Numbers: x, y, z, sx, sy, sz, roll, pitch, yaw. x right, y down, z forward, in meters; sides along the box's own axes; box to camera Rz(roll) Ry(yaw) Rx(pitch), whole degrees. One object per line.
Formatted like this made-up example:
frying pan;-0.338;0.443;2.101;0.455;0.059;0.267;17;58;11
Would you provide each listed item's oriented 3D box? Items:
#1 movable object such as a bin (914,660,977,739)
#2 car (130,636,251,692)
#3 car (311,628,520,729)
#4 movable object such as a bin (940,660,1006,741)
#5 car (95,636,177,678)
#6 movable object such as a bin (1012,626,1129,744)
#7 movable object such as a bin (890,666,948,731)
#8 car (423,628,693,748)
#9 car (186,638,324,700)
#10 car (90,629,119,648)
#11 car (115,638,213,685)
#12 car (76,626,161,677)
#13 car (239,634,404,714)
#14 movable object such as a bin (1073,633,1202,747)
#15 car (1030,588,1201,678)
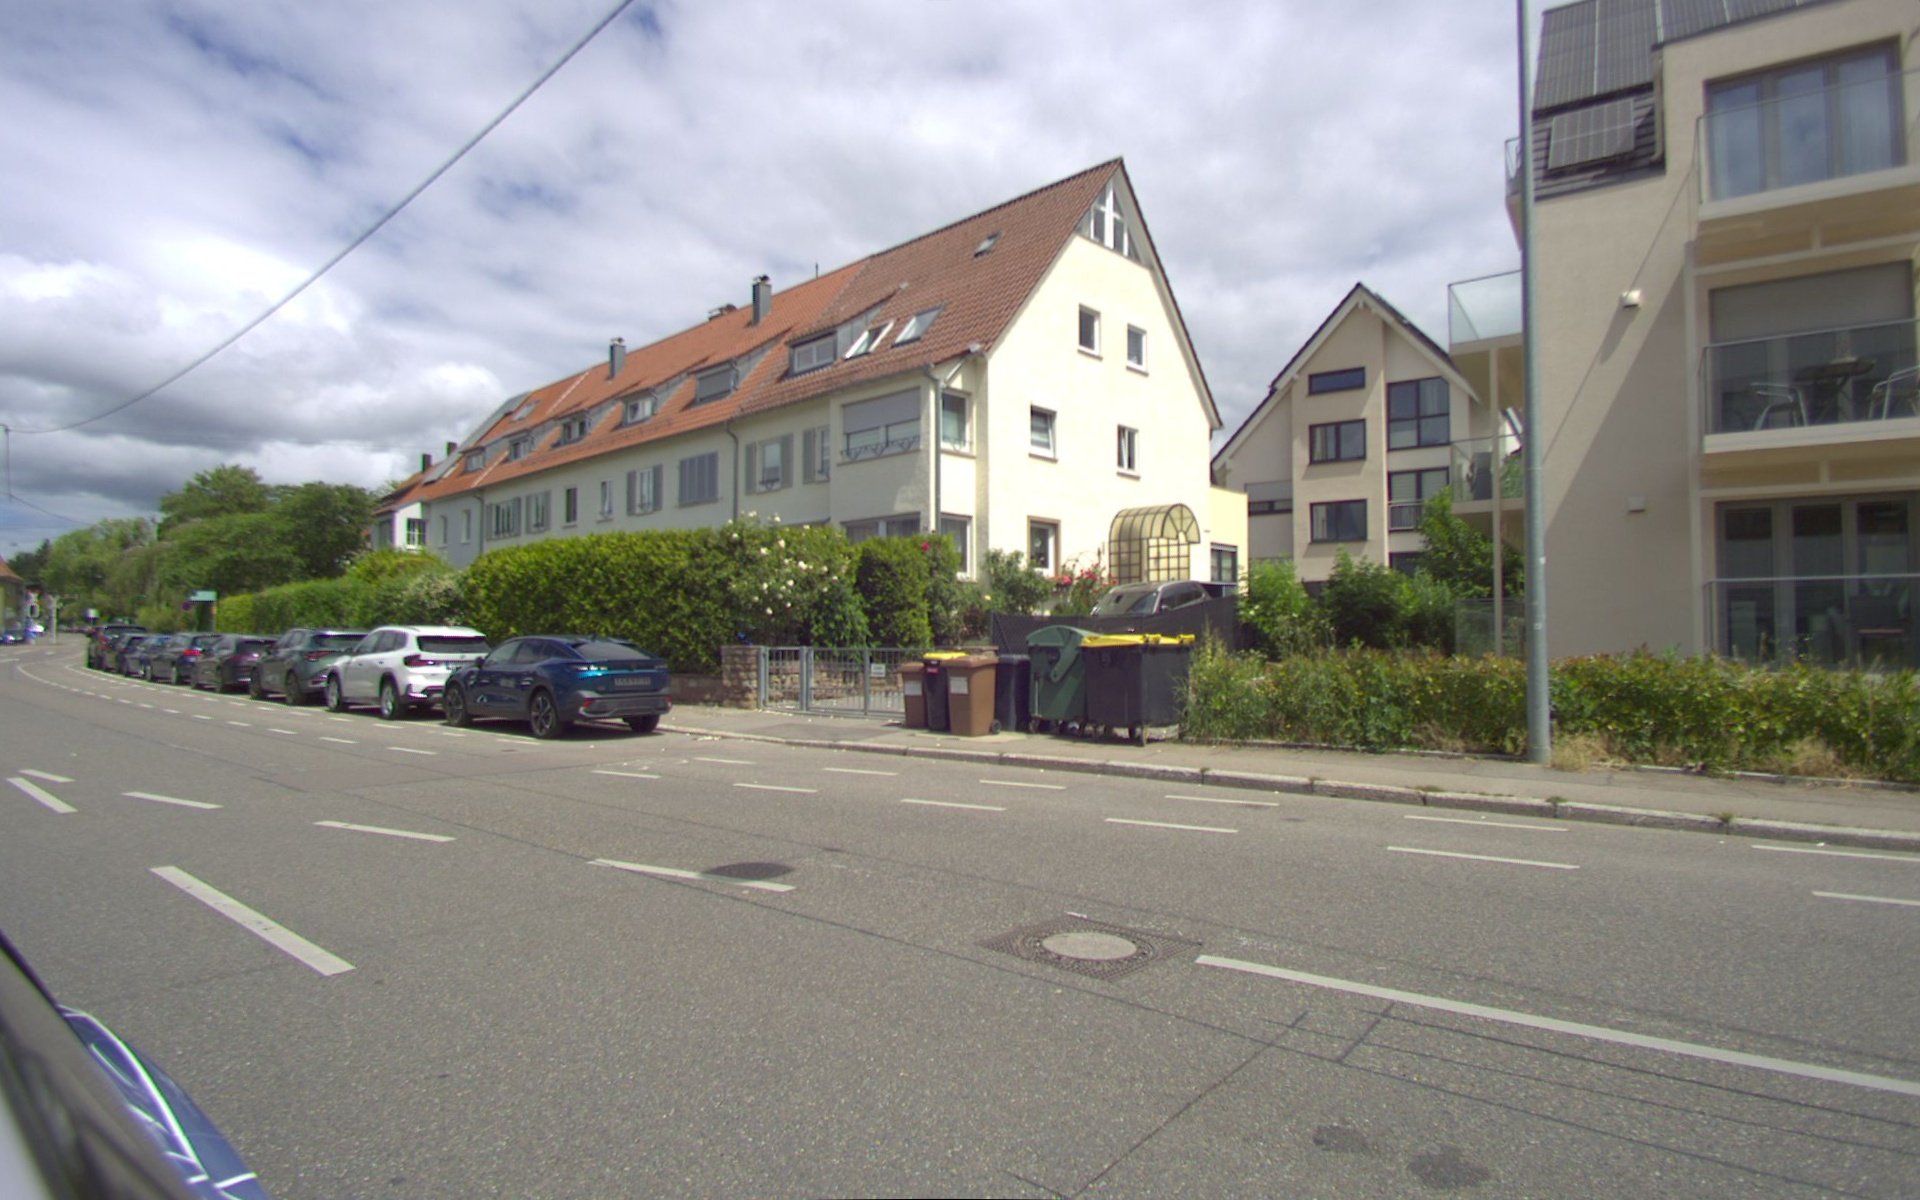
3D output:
movable object such as a bin;-0.197;1.368;14.086;0.658;1.032;0.589;-2;-3;41
car;-22.586;1.825;29.652;4.560;1.503;1.760;-1;-3;39
car;-10.262;1.364;18.941;4.515;1.663;1.973;-2;-3;41
movable object such as a bin;0.171;1.324;13.488;0.658;1.015;0.589;-2;-3;41
car;-30.240;2.060;37.082;4.340;1.428;1.758;-2;-3;43
movable object such as a bin;1.502;1.112;13.729;1.213;1.493;1.055;-2;-3;39
movable object such as a bin;-0.594;1.411;14.629;0.614;0.886;0.589;-2;-3;41
car;-6.333;1.250;15.729;4.484;1.599;1.974;-1;-3;39
car;-18.234;1.710;26.090;4.689;1.419;1.971;-2;-3;43
car;-81.143;3.664;96.022;1.892;1.661;4.301;7;-5;-38
car;-26.148;1.975;33.202;4.438;1.428;1.759;-2;-3;42
car;-34.021;2.045;40.857;5.405;1.909;1.971;-2;-5;44
car;-14.300;1.559;22.553;4.689;1.576;1.971;-2;-3;43
movable object such as a bin;2.215;1.080;12.645;1.214;1.323;1.054;-2;-3;42
car;3.369;0.668;21.429;1.802;1.719;3.947;-2;-1;40
